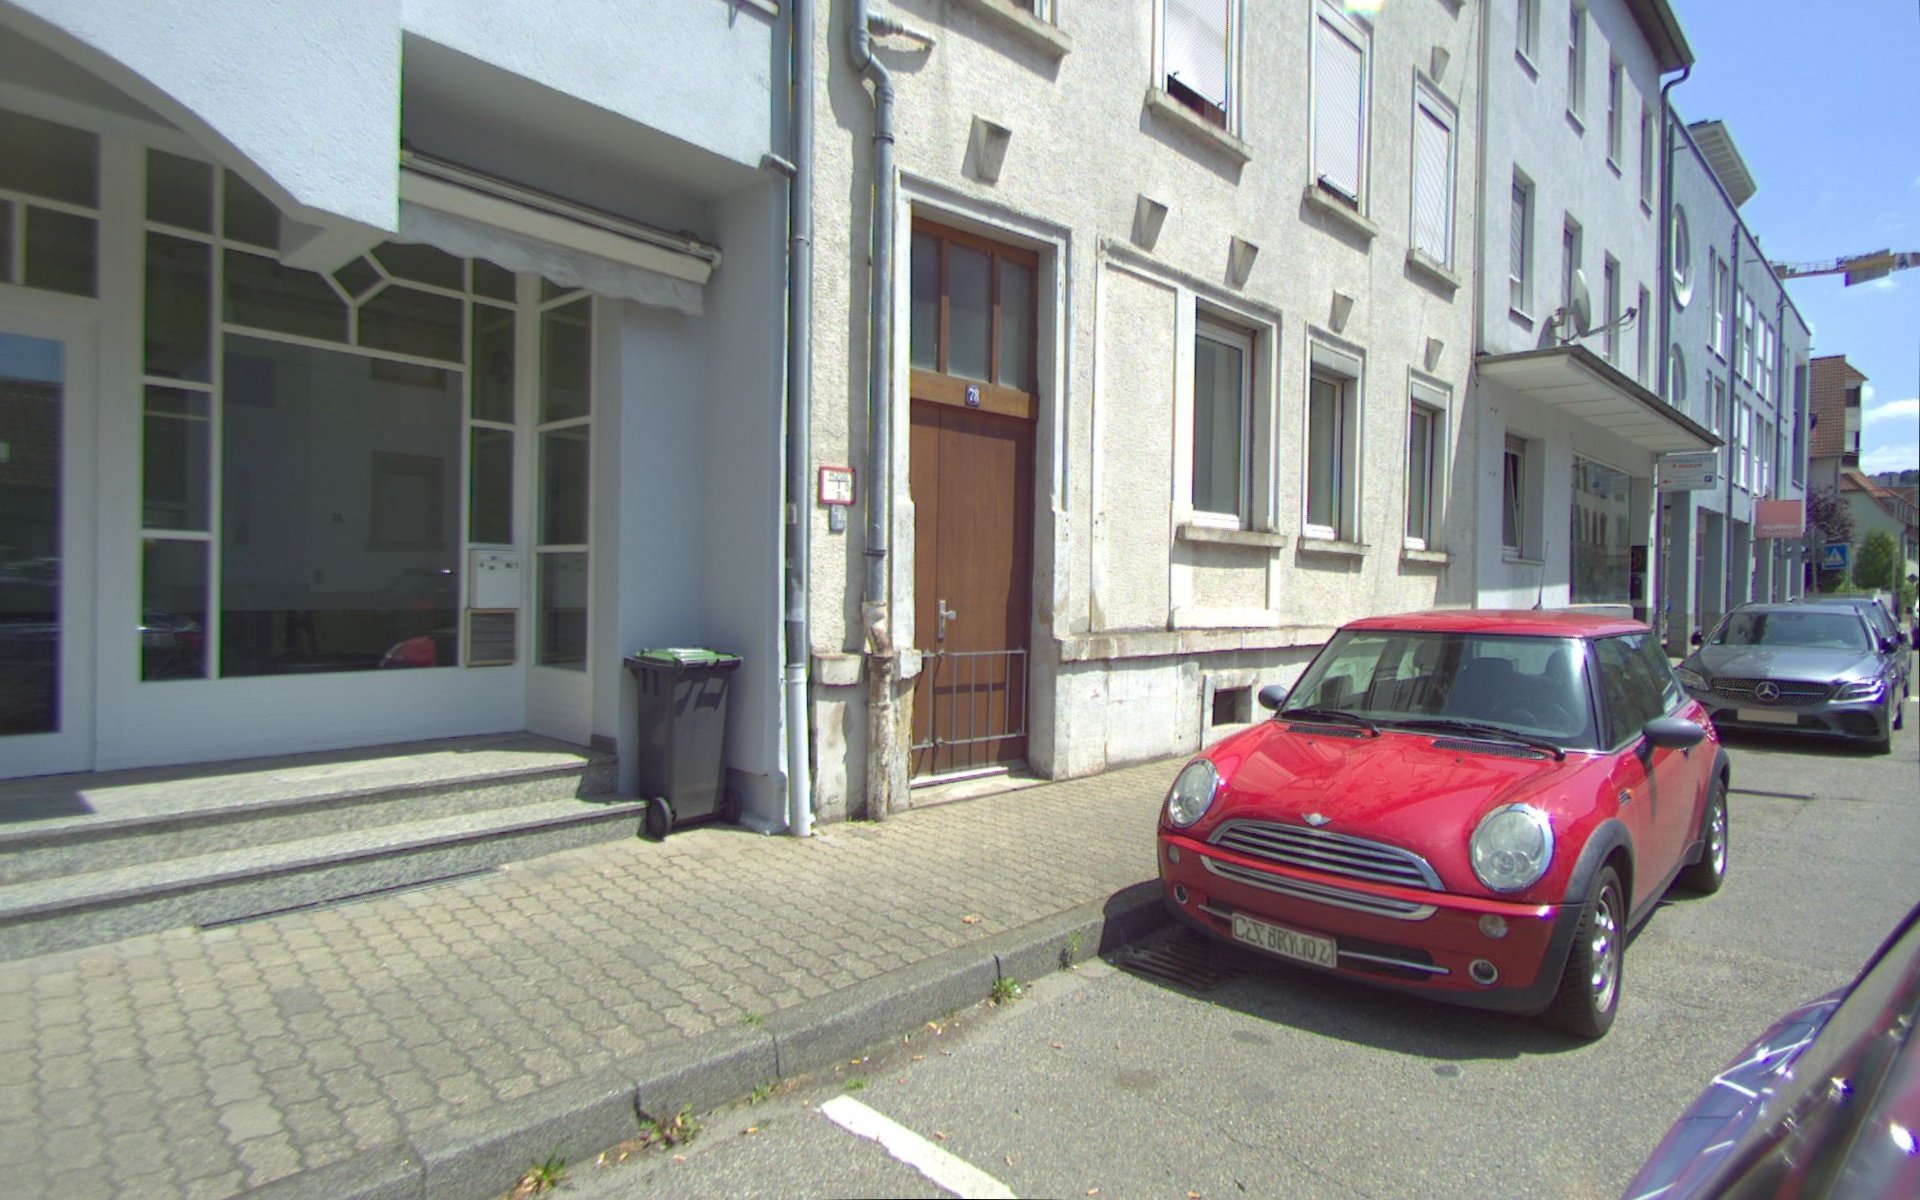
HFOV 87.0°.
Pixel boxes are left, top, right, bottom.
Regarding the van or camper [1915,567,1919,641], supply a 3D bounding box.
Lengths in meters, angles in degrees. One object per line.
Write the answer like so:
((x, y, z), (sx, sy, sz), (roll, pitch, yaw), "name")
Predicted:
((32.559, 0.161, 32.878), (5.058, 2.316, 1.995), (1, 0, -44), "van or camper")

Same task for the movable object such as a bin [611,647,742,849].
((-1.492, 0.746, 5.331), (0.472, 0.946, 0.481), (2, 1, 39), "movable object such as a bin")

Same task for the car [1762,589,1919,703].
((13.862, 0.605, 15.714), (3.934, 1.527, 1.711), (0, 1, -44), "car")

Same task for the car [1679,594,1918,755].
((9.587, 0.661, 11.430), (1.729, 1.438, 4.472), (1, 1, 44), "car")

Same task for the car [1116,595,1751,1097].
((2.402, 0.688, 4.685), (1.619, 1.403, 3.482), (0, 1, 44), "car")
